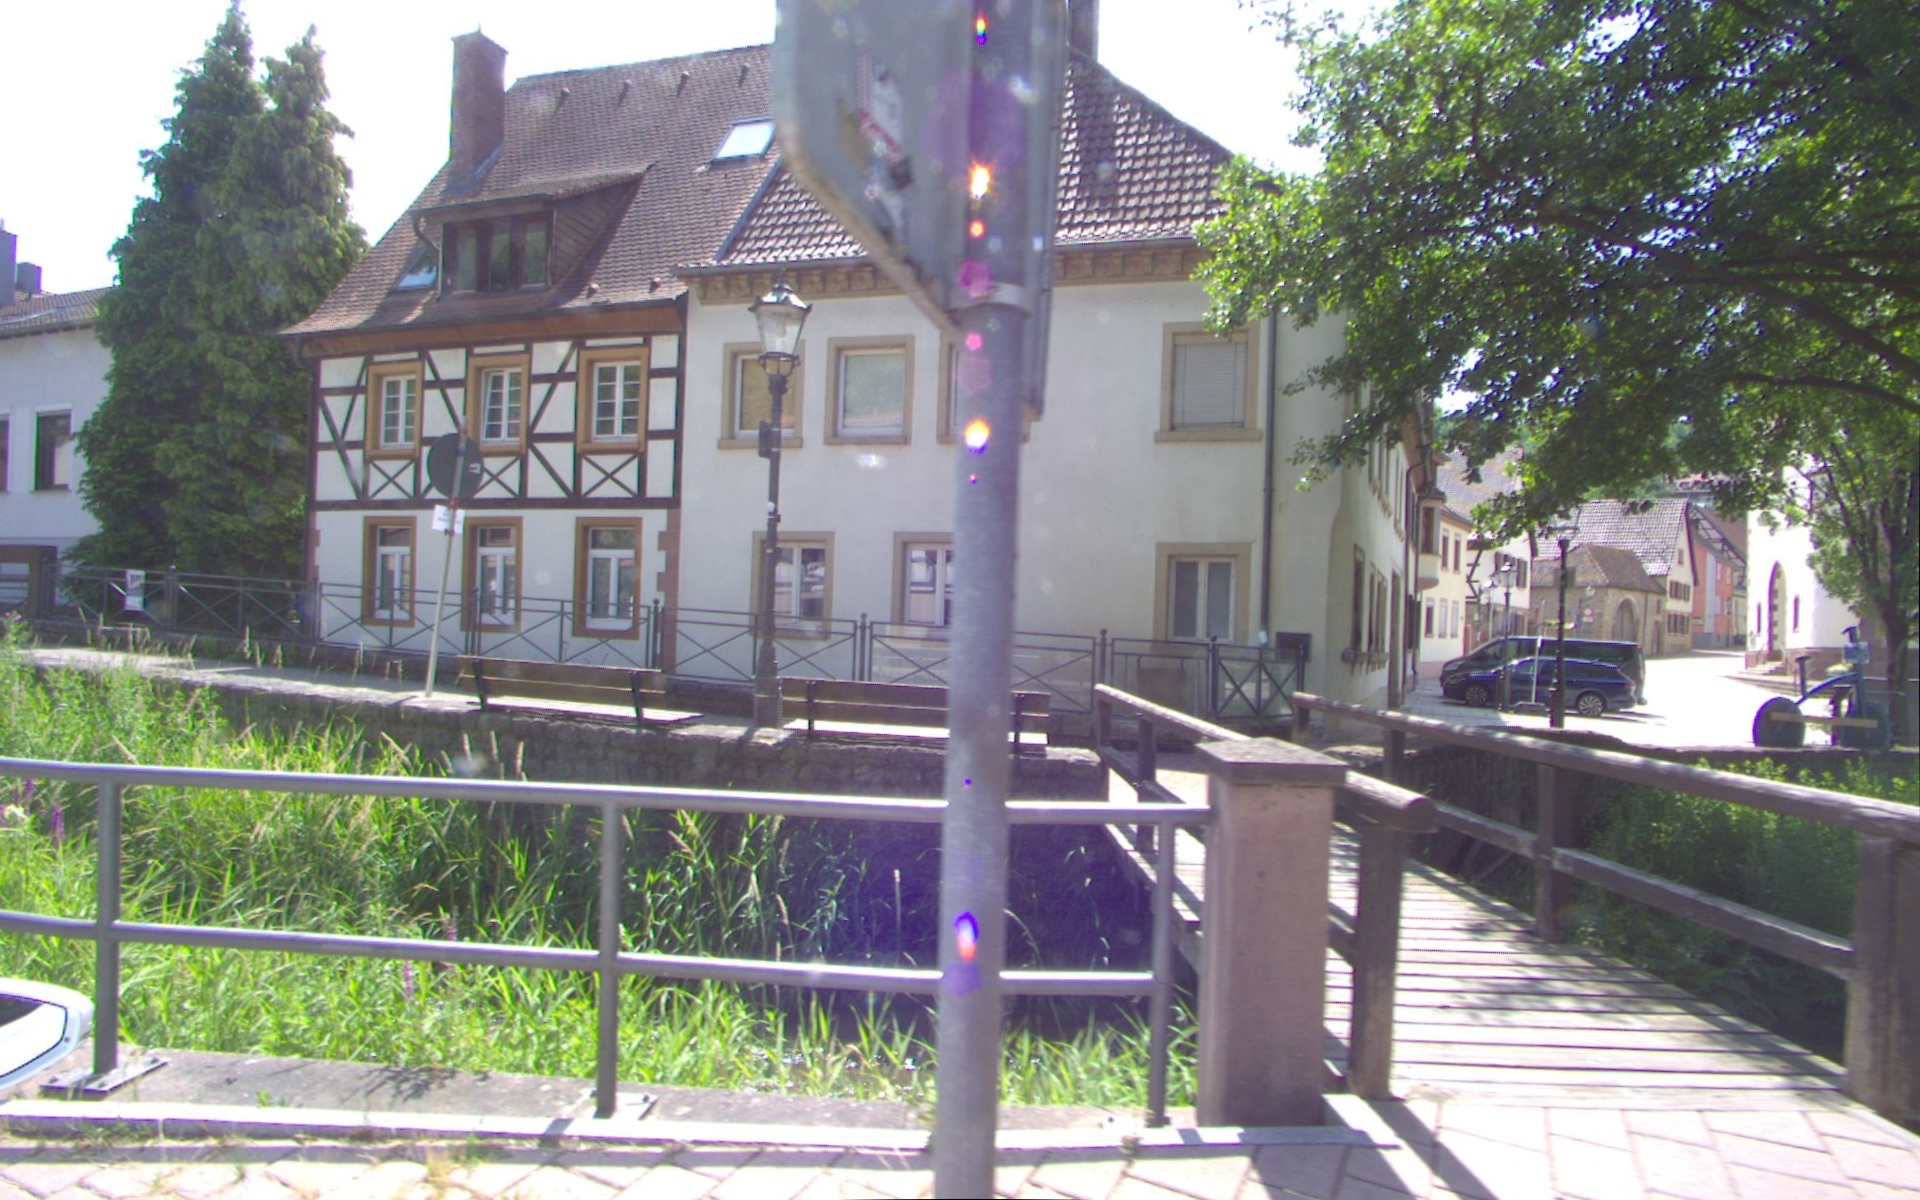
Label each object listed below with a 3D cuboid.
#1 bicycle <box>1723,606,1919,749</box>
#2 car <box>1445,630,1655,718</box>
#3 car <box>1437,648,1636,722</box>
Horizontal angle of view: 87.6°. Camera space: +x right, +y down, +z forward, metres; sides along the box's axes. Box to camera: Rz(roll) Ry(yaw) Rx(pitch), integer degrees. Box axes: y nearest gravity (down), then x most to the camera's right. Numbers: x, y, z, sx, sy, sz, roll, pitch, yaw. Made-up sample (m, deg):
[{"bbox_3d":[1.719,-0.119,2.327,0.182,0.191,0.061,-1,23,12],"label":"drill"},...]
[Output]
[{"bbox_3d":[13.035,1.193,15.172,2.617,2.037,0.783,2,-4,-12],"label":"bicycle"},{"bbox_3d":[17.099,2.071,29.325,5.042,2.054,1.952,3,1,28],"label":"car"},{"bbox_3d":[15.441,2.226,27.065,4.468,1.501,1.583,3,1,28],"label":"car"}]
